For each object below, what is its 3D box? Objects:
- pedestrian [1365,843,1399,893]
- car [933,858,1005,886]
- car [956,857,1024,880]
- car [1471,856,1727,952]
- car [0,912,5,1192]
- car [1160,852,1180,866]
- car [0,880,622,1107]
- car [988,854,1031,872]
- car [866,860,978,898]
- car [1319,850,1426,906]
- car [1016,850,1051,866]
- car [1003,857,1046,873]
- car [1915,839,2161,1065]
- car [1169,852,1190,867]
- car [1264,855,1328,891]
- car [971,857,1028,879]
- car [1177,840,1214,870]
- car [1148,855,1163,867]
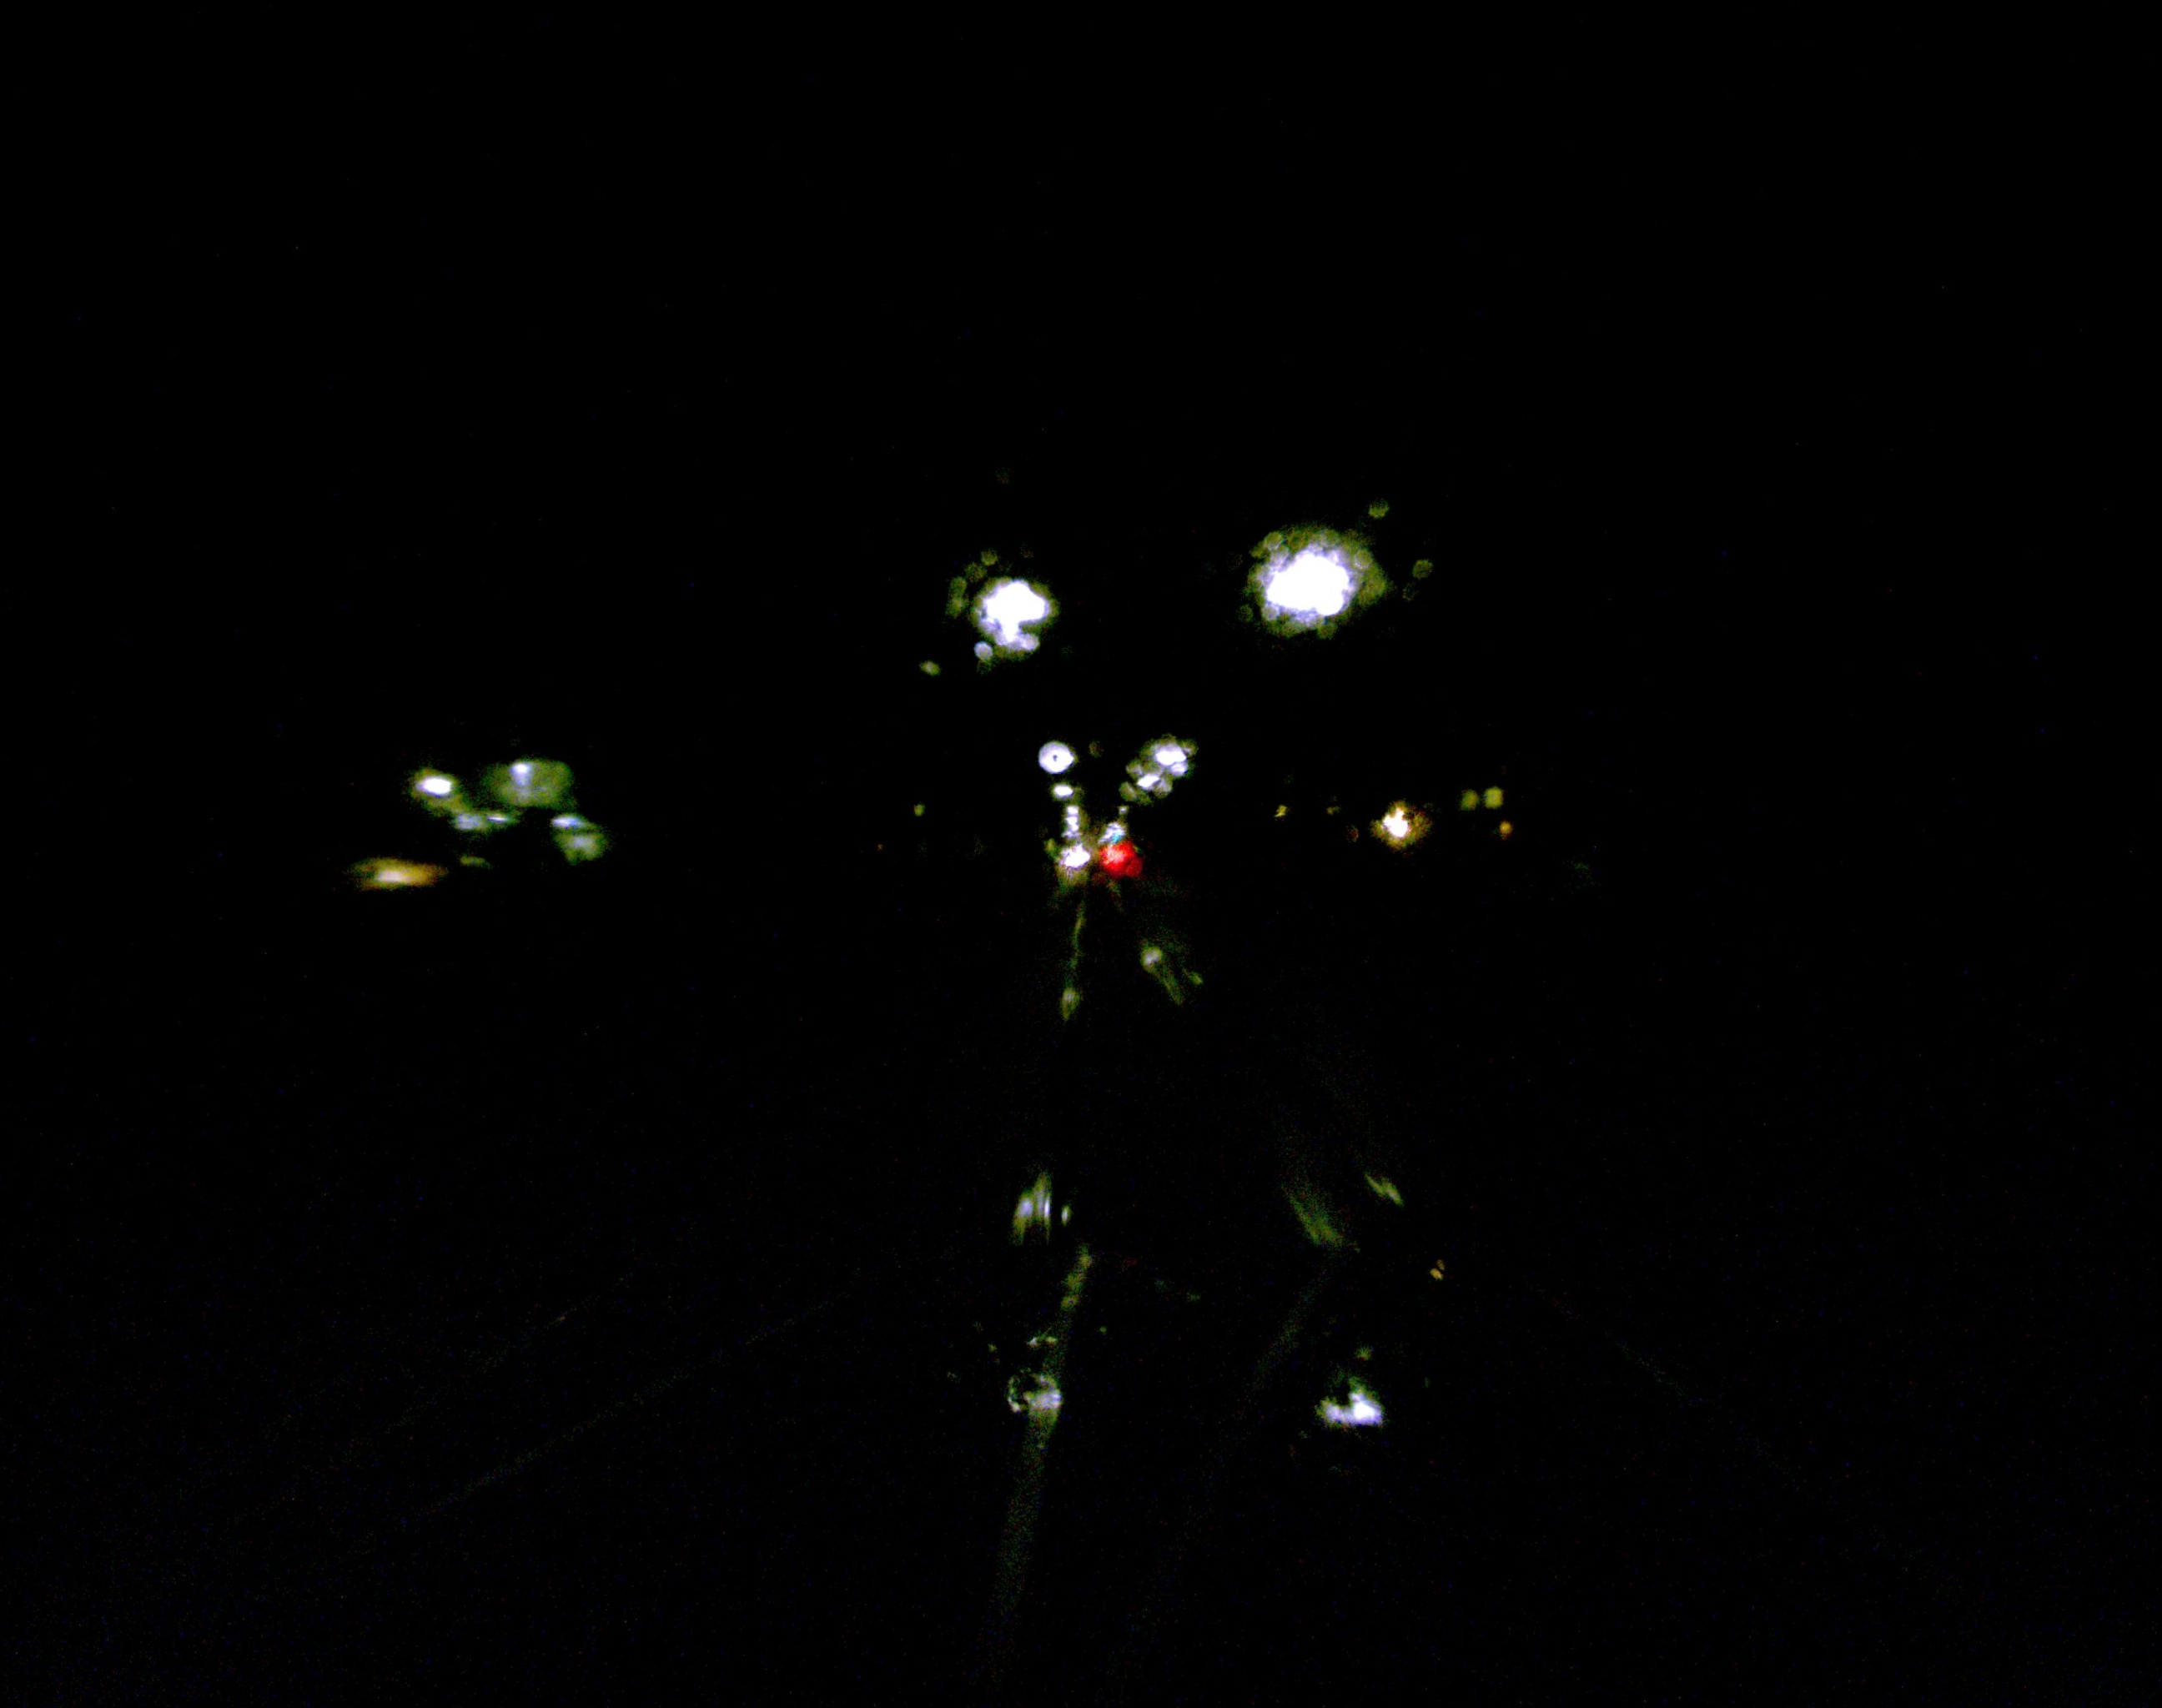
[{"bbox_3d":[11.784,0.529,29.787,0.794,1.890,1.290,-1,1,1],"label":"pedestrian"},{"bbox_3d":[-6.567,1.024,44.755,1.707,1.503,3.915,-1,1,44],"label":"car"},{"bbox_3d":[-6.166,0.937,51.744,4.264,1.409,1.780,-2,1,-41],"label":"car"},{"bbox_3d":[9.389,0.807,14.352,1.735,1.430,4.626,-1,0,1],"label":"car"},{"bbox_3d":[-7.354,1.063,2.763,3.708,1.509,1.656,0,0,-18],"label":"car"},{"bbox_3d":[10.305,0.568,88.412,1.846,1.572,3.663,-3,1,0],"label":"car"},{"bbox_3d":[-6.722,1.003,6.391,4.604,1.467,1.837,0,0,-19],"label":"car"},{"bbox_3d":[-6.640,0.847,70.881,1.712,1.519,3.675,-1,1,45],"label":"car"},{"bbox_3d":[-6.708,1.007,32.290,4.350,1.459,1.677,-1,0,-38],"label":"car"},{"bbox_3d":[9.496,0.728,25.143,1.814,1.569,4.353,-4,0,1],"label":"car"},{"bbox_3d":[-5.660,0.460,90.779,3.965,1.760,1.666,-2,1,-36],"label":"car"},{"bbox_3d":[-5.566,1.066,75.115,4.021,1.519,1.796,-2,1,-41],"label":"car"},{"bbox_3d":[9.270,0.744,5.150,2.149,1.610,4.589,-4,1,0],"label":"car"},{"bbox_3d":[10.299,0.529,79.689,1.720,1.399,3.389,-3,1,0],"label":"car"},{"bbox_3d":[9.561,0.814,34.073,1.723,1.447,3.950,-1,0,0],"label":"car"},{"bbox_3d":[-6.181,1.035,58.067,1.658,1.473,4.194,-3,-1,42],"label":"car"},{"bbox_3d":[10.099,0.064,67.463,2.248,2.494,5.259,-3,1,-2],"label":"car"},{"bbox_3d":[10.727,1.015,109.712,1.693,1.565,3.918,-1,1,1],"label":"car"}]
